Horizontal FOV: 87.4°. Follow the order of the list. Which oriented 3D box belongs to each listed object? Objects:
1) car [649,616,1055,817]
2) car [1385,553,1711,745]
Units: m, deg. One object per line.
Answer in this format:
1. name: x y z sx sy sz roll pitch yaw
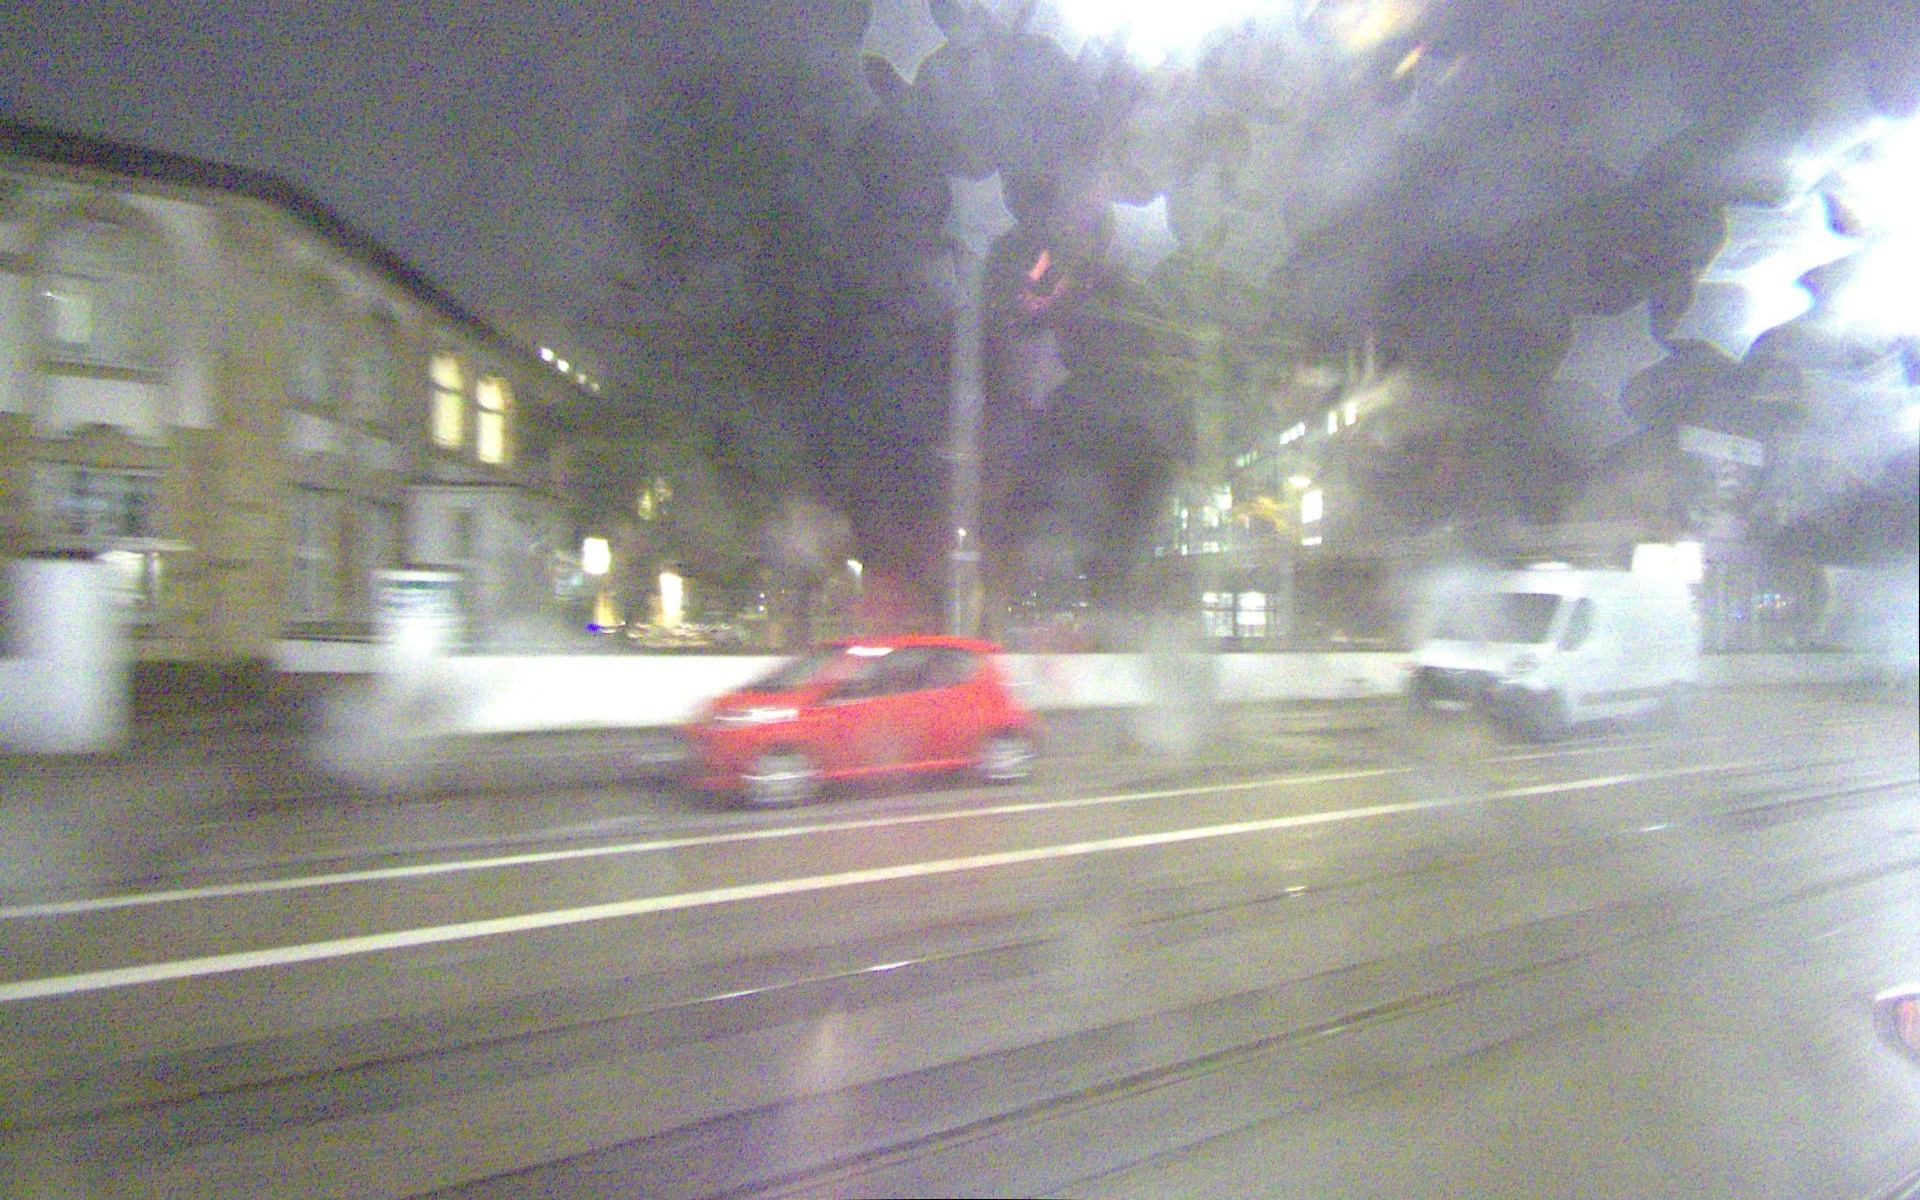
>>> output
1. car: -0.994 0.966 9.741 3.579 1.527 1.632 0 1 -32
2. car: 9.231 0.665 15.599 5.546 2.532 2.013 1 1 -33
